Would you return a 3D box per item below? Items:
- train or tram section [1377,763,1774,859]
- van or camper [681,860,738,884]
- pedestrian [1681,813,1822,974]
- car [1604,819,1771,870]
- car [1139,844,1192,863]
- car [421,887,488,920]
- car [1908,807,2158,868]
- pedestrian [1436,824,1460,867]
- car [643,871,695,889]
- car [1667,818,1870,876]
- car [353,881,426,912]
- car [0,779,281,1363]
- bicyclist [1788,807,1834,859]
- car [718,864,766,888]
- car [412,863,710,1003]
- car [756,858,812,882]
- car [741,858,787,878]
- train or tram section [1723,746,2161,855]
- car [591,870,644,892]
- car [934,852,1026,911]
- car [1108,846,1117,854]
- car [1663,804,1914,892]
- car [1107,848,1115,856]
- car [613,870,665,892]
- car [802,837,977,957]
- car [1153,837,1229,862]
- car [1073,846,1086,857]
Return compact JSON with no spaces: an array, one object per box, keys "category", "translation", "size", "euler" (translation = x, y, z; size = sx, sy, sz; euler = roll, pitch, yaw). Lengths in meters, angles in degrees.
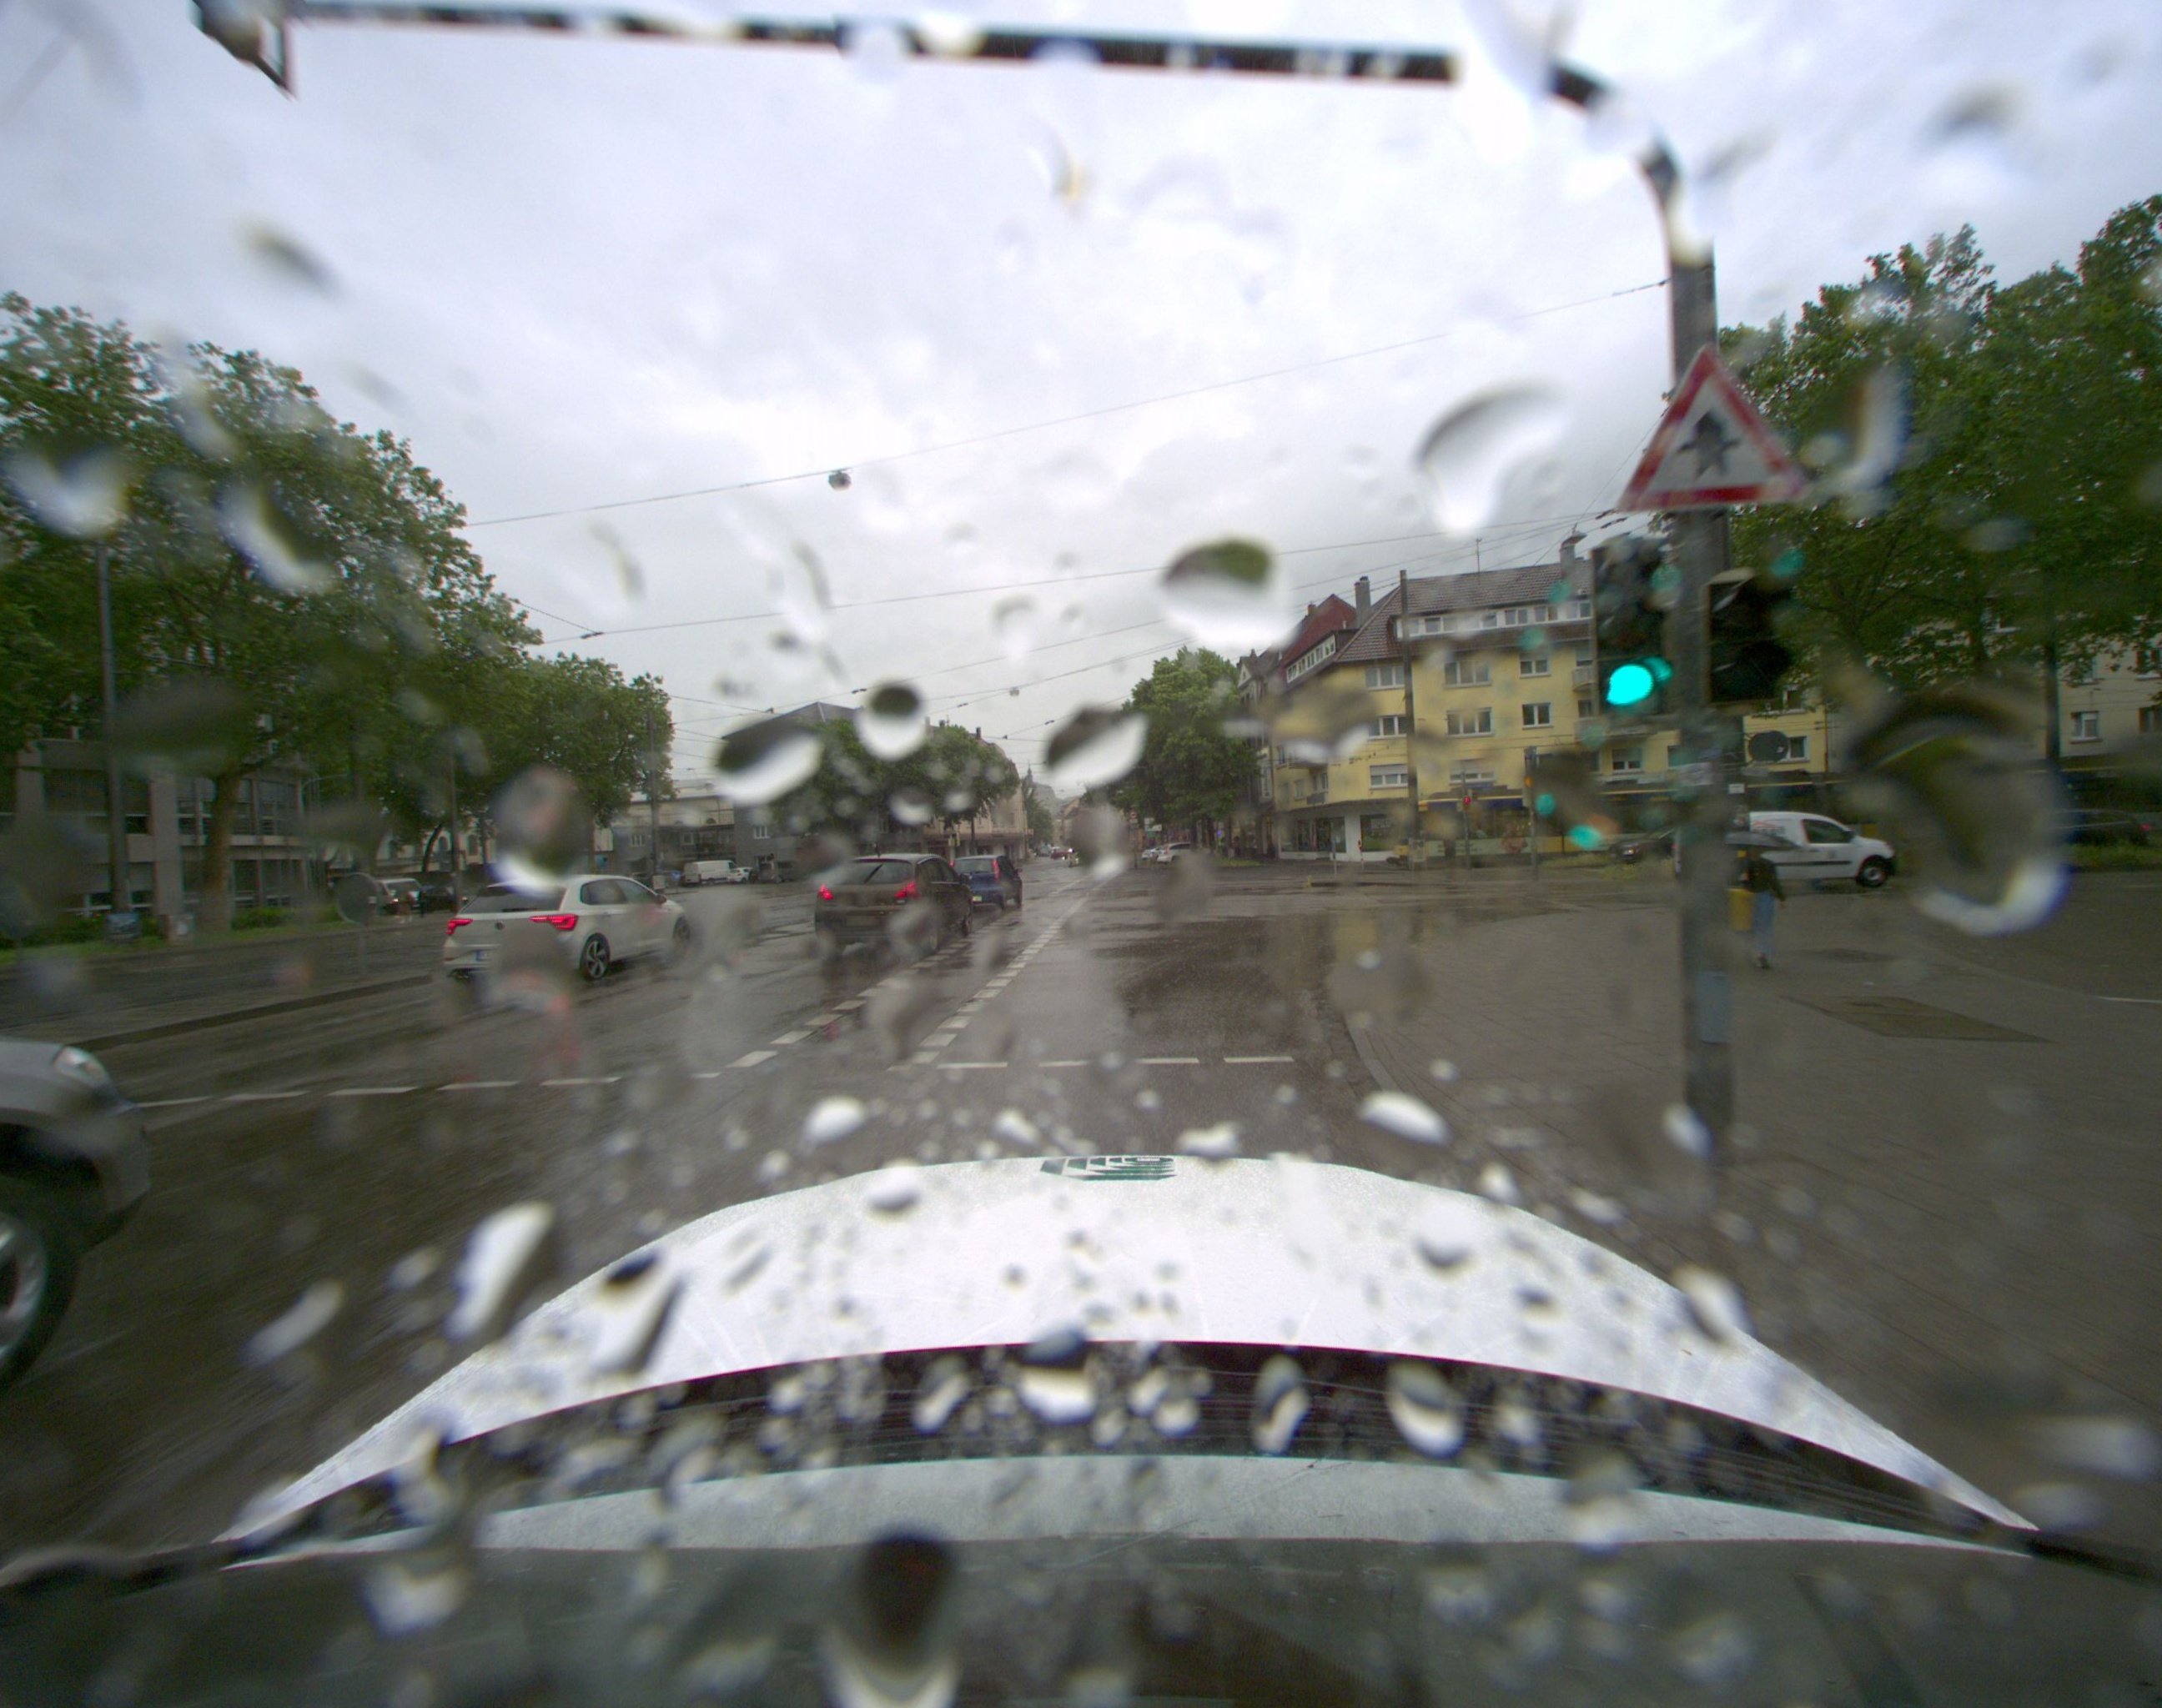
[{"category":"train or tram section","translation":[20.551,-1.705,34.939],"size":[14.440,3.558,3.125],"euler":[-1,0,10]},{"category":"van or camper","translation":[-34.555,1.607,75.891],"size":[1.976,2.075,4.680],"euler":[-2,-1,23]},{"category":"pedestrian","translation":[7.575,0.399,9.202],"size":[1.003,1.666,1.092],"euler":[-2,1,-43]},{"category":"car","translation":[20.917,-0.326,28.264],"size":[4.246,1.501,1.884],"euler":[-3,1,8]},{"category":"car","translation":[8.086,-0.086,78.035],"size":[4.540,1.556,2.011],"euler":[-3,1,22]},{"category":"car","translation":[-37.682,2.961,48.980],"size":[3.948,1.771,1.815],"euler":[-2,2,32]},{"category":"car","translation":[27.934,-0.484,24.081],"size":[4.592,1.485,1.869],"euler":[-3,1,13]},{"category":"pedestrian","translation":[14.833,-0.343,32.890],"size":[0.804,1.677,1.023],"euler":[-2,0,26]},{"category":"car","translation":[-39.380,2.433,77.921],"size":[1.975,1.614,4.022],"euler":[-2,-2,24]},{"category":"car","translation":[21.051,-0.212,25.126],"size":[4.455,1.489,1.747],"euler":[-3,1,12]},{"category":"car","translation":[-43.713,2.695,51.461],"size":[3.950,1.772,2.017],"euler":[-2,0,25]},{"category":"car","translation":[-4.047,0.658,0.732],"size":[1.901,1.646,4.682],"euler":[-2,1,1]},{"category":"bicyclist","translation":[24.729,-0.714,27.598],"size":[0.881,1.716,0.716],"euler":[-1,0,10]},{"category":"car","translation":[-31.508,2.031,75.834],"size":[1.978,2.013,4.018],"euler":[-2,1,16]},{"category":"car","translation":[-7.328,0.988,12.097],"size":[1.802,1.536,4.187],"euler":[-3,1,-3]},{"category":"car","translation":[-26.817,1.434,73.586],"size":[2.041,2.013,4.425],"euler":[-1,1,29]},{"category":"car","translation":[-29.350,1.303,75.494],"size":[1.906,1.618,4.018],"euler":[-2,1,16]},{"category":"train or tram section","translation":[34.758,-2.022,32.435],"size":[14.530,3.558,3.126],"euler":[-2,1,11]},{"category":"car","translation":[-45.965,2.654,80.844],"size":[1.974,1.928,4.026],"euler":[-1,1,33]},{"category":"car","translation":[-2.695,0.767,22.478],"size":[1.875,1.459,3.833],"euler":[-2,-2,2]},{"category":"car","translation":[5.568,-0.777,145.131],"size":[1.471,1.363,3.461],"euler":[-1,-1,0]},{"category":"car","translation":[16.043,-0.142,18.643],"size":[4.086,1.797,1.910],"euler":[-2,1,0]},{"category":"car","translation":[5.562,-0.393,151.697],"size":[1.471,1.363,3.461],"euler":[-1,-1,0]},{"category":"car","translation":[-43.319,2.648,79.811],"size":[1.974,2.014,4.024],"euler":[-1,-1,29]},{"category":"car","translation":[-3.054,0.597,13.956],"size":[1.794,1.709,4.194],"euler":[-2,1,2]},{"category":"car","translation":[7.864,-0.314,58.180],"size":[4.972,1.474,1.994],"euler":[-3,1,-9]},{"category":"car","translation":[-0.186,-0.333,129.919],"size":[1.988,1.688,3.997],"euler":[-1,-1,-1]}]
